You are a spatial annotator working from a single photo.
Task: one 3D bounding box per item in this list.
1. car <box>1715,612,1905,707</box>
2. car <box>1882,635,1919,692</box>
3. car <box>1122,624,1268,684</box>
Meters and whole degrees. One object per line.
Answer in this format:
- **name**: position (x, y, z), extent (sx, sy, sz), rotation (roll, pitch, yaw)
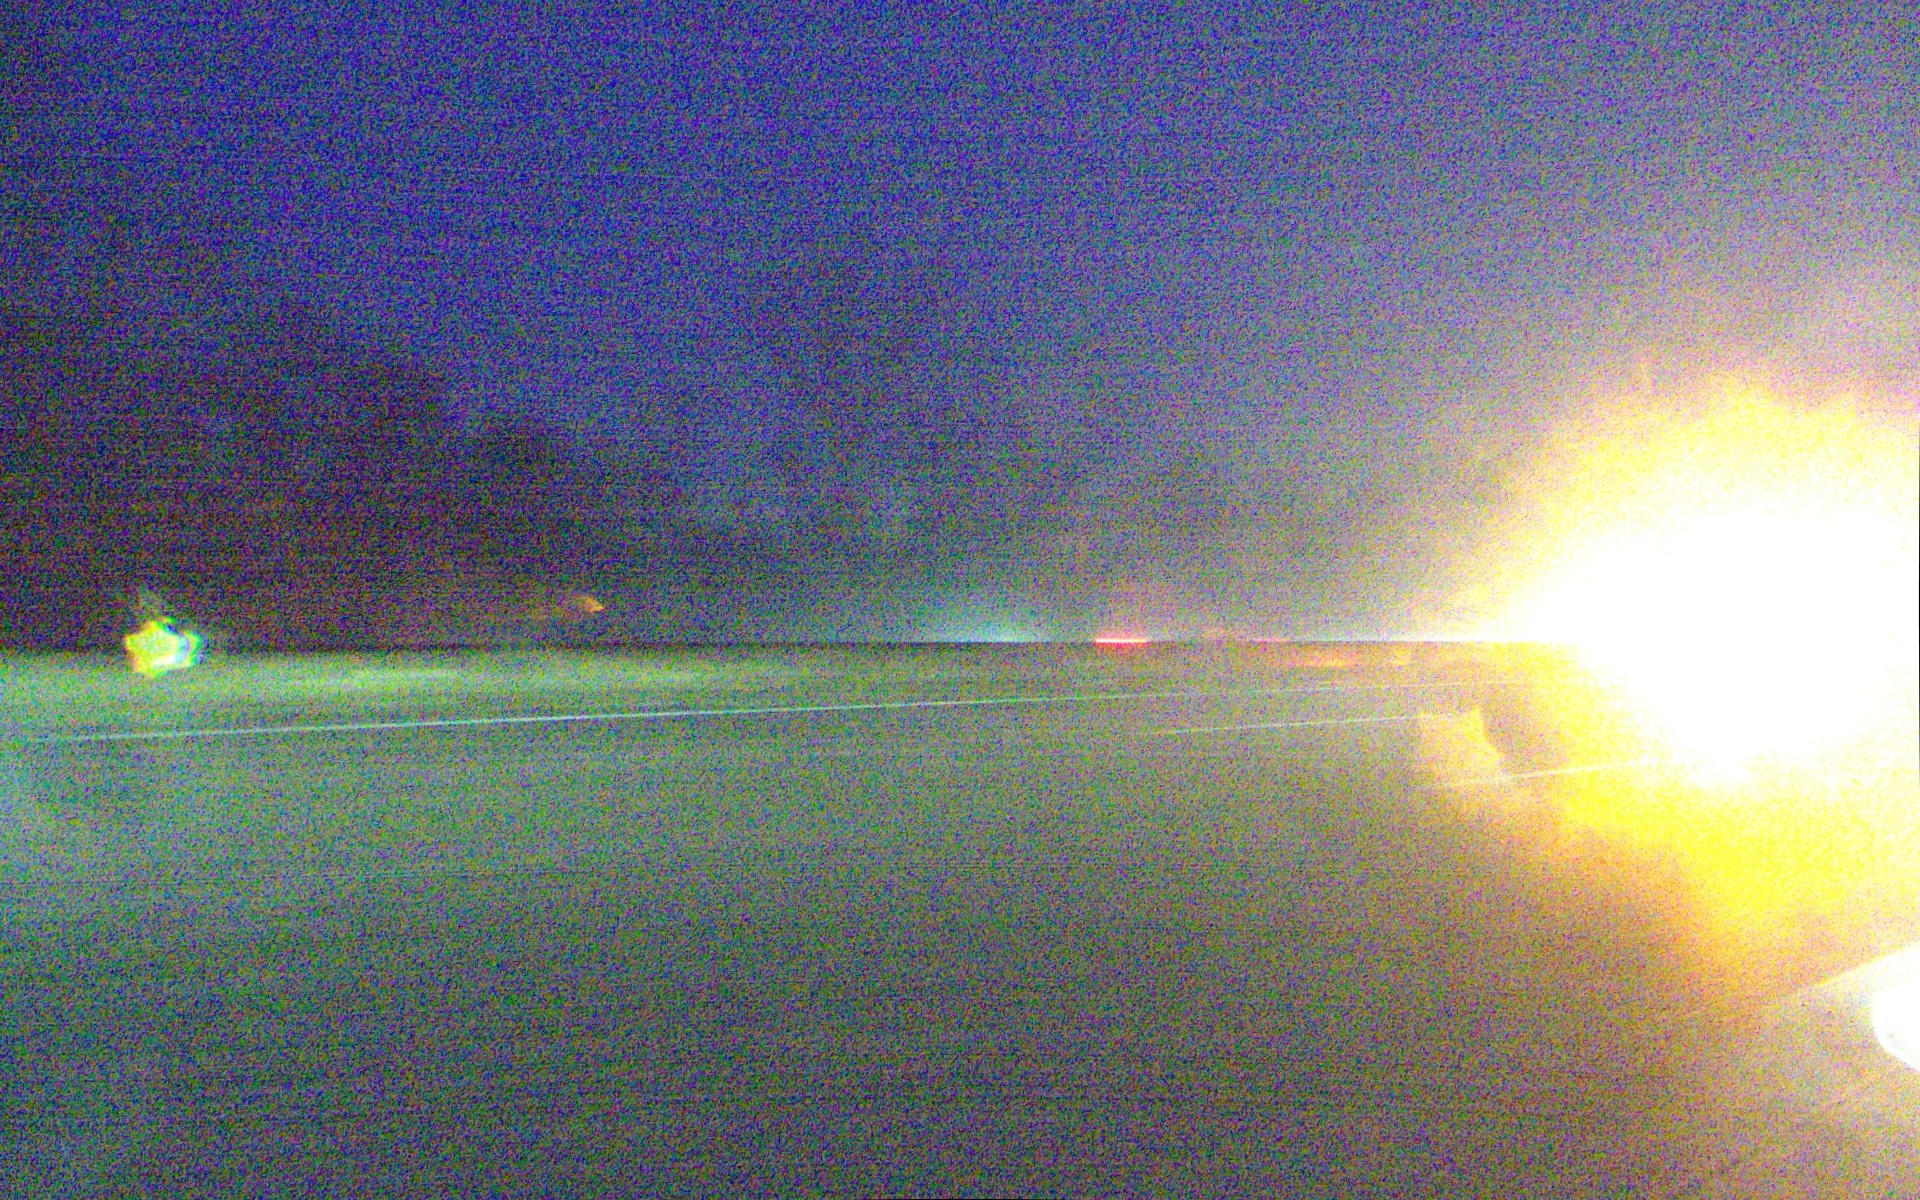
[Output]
- **car**: position (16.591, 1.098, 19.560), extent (3.963, 1.617, 1.979), rotation (2, 0, -37)
- **car**: position (30.465, 1.982, 31.336), extent (3.802, 1.672, 1.683), rotation (2, 0, -35)
- **car**: position (7.521, 1.705, 32.028), extent (4.512, 1.744, 1.870), rotation (2, 0, -32)
